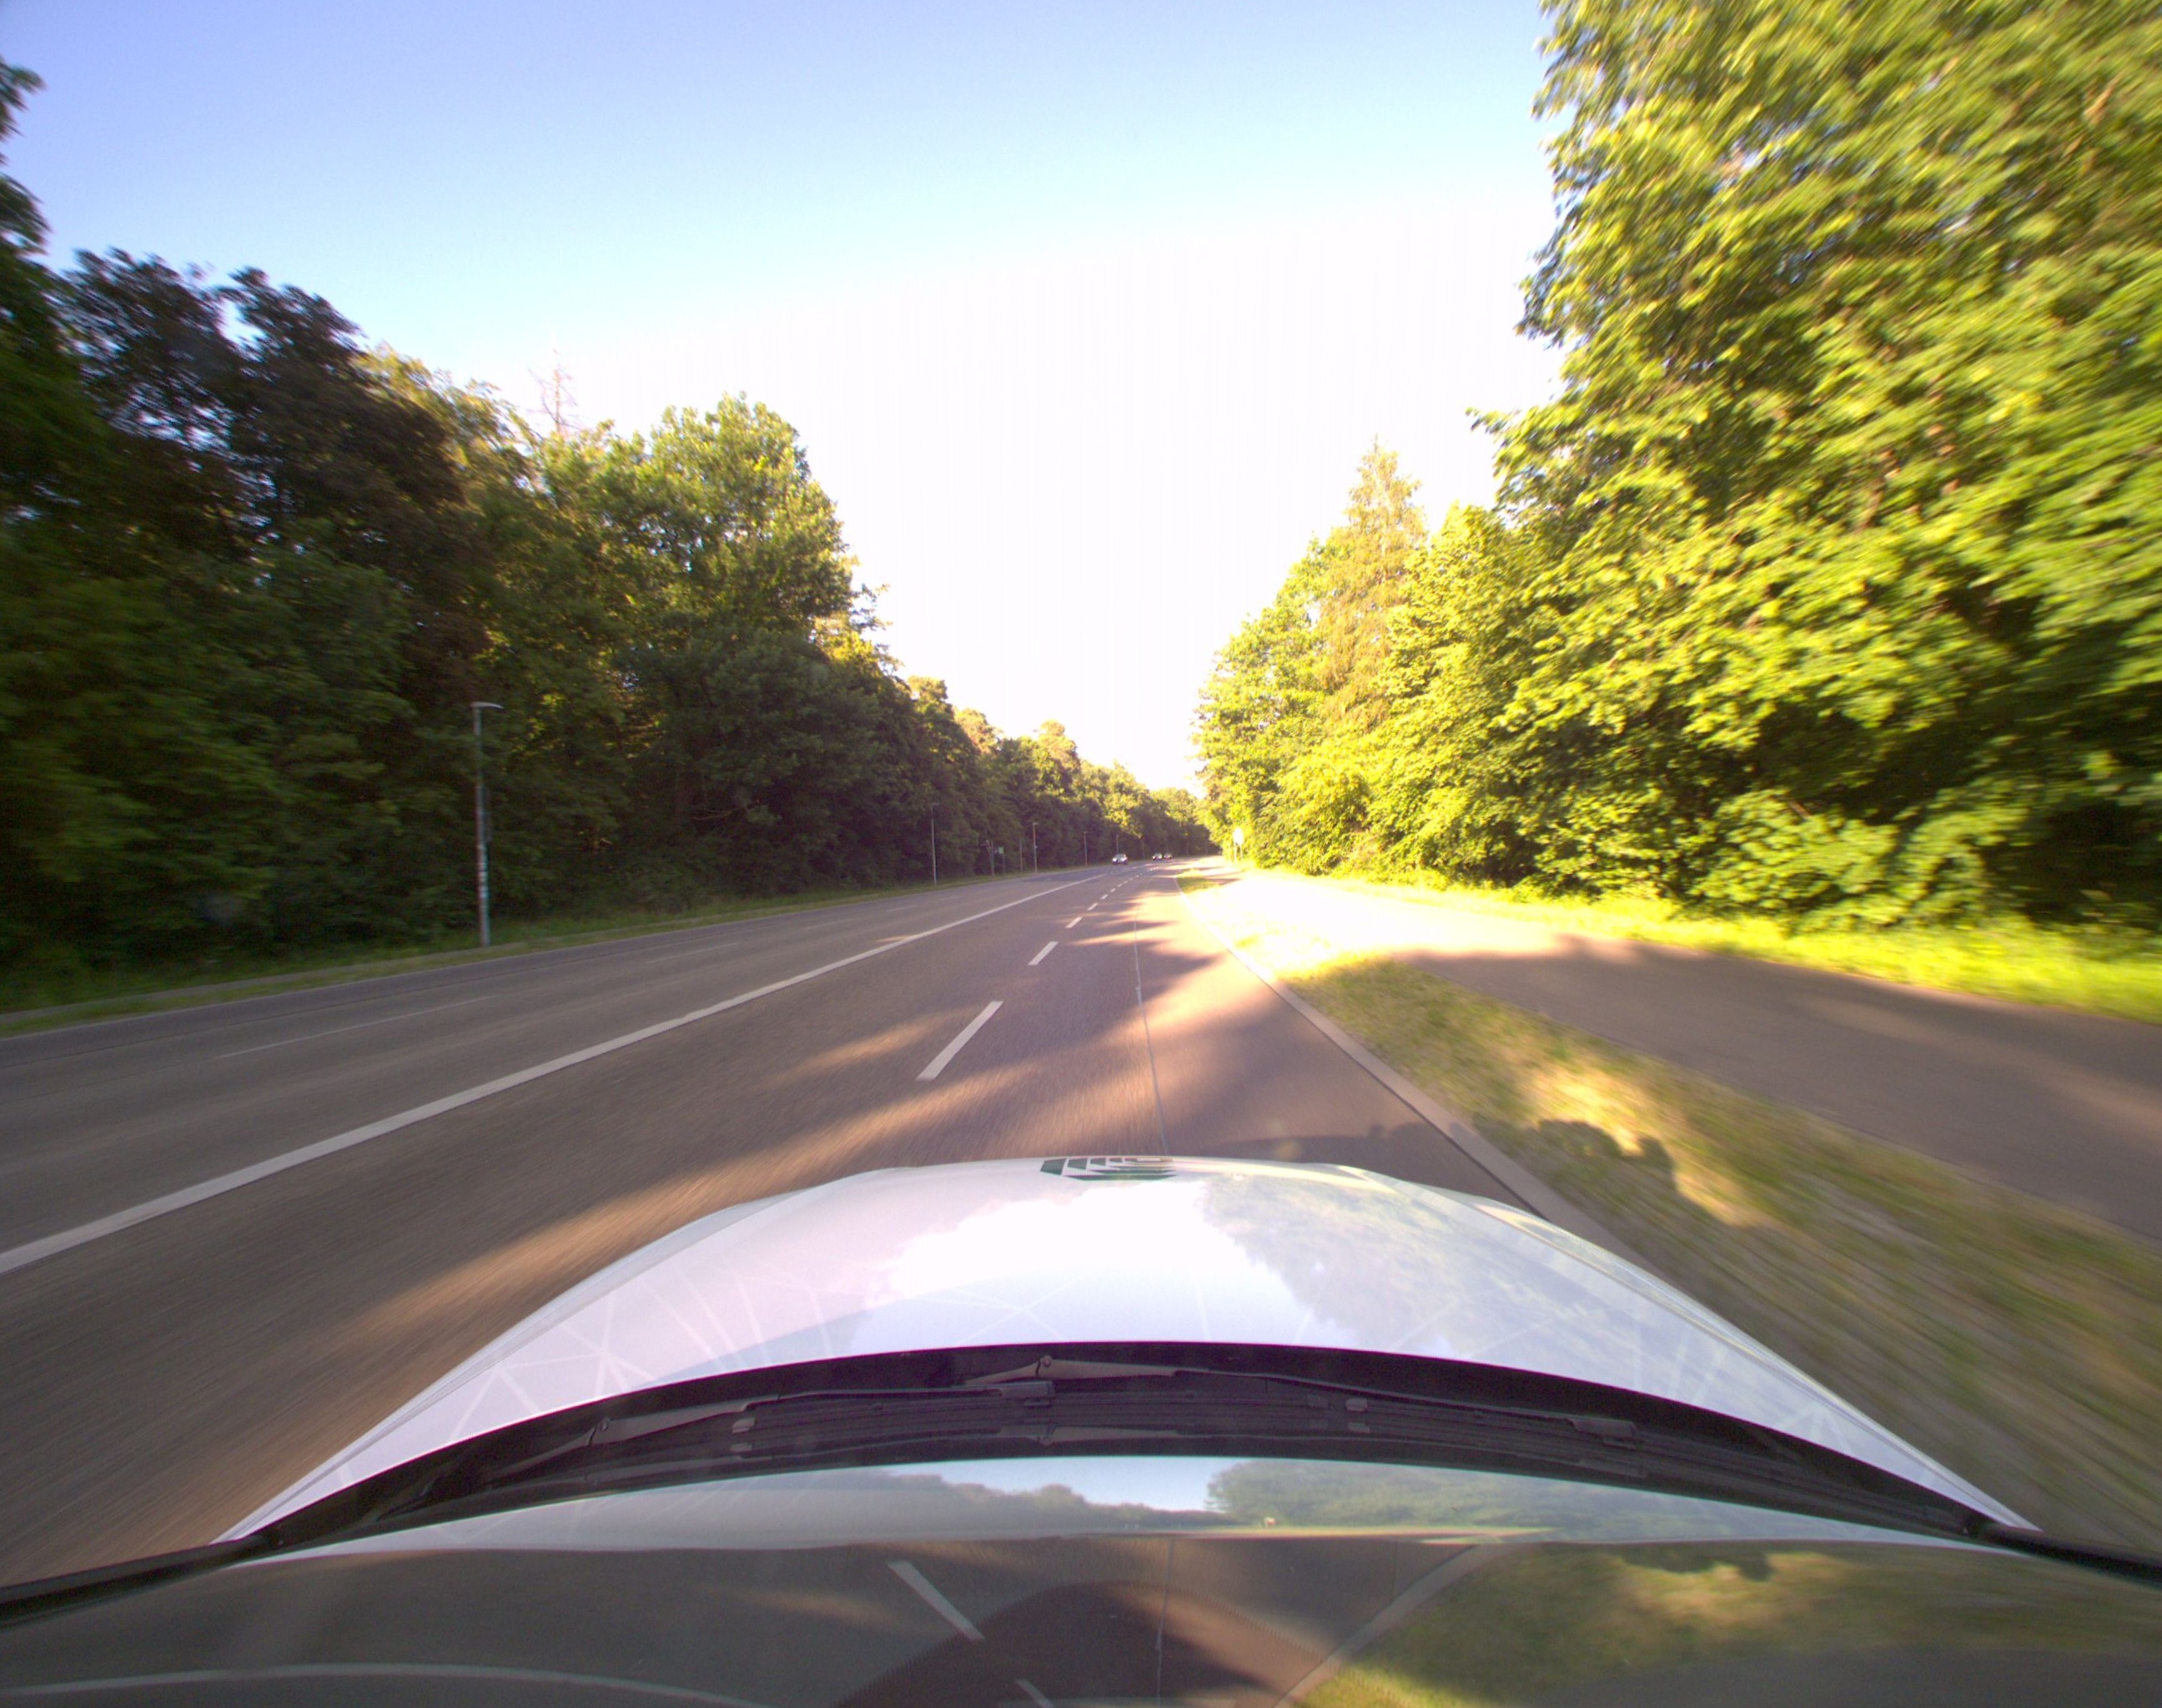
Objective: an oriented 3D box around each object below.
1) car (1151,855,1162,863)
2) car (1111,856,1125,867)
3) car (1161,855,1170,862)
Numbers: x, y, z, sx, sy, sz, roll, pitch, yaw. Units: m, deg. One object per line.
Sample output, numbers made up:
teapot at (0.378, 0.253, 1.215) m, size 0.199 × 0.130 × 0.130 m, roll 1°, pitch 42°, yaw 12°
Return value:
car at (16.802, 1.127, 181.275) m, size 1.982 × 1.585 × 4.009 m, roll -2°, pitch -1°, yaw 8°
car at (5.719, 1.190, 125.271) m, size 1.986 × 1.585 × 4.002 m, roll -2°, pitch -1°, yaw 2°
car at (20.899, 1.053, 201.645) m, size 1.981 × 1.585 × 4.011 m, roll -2°, pitch -1°, yaw 10°
